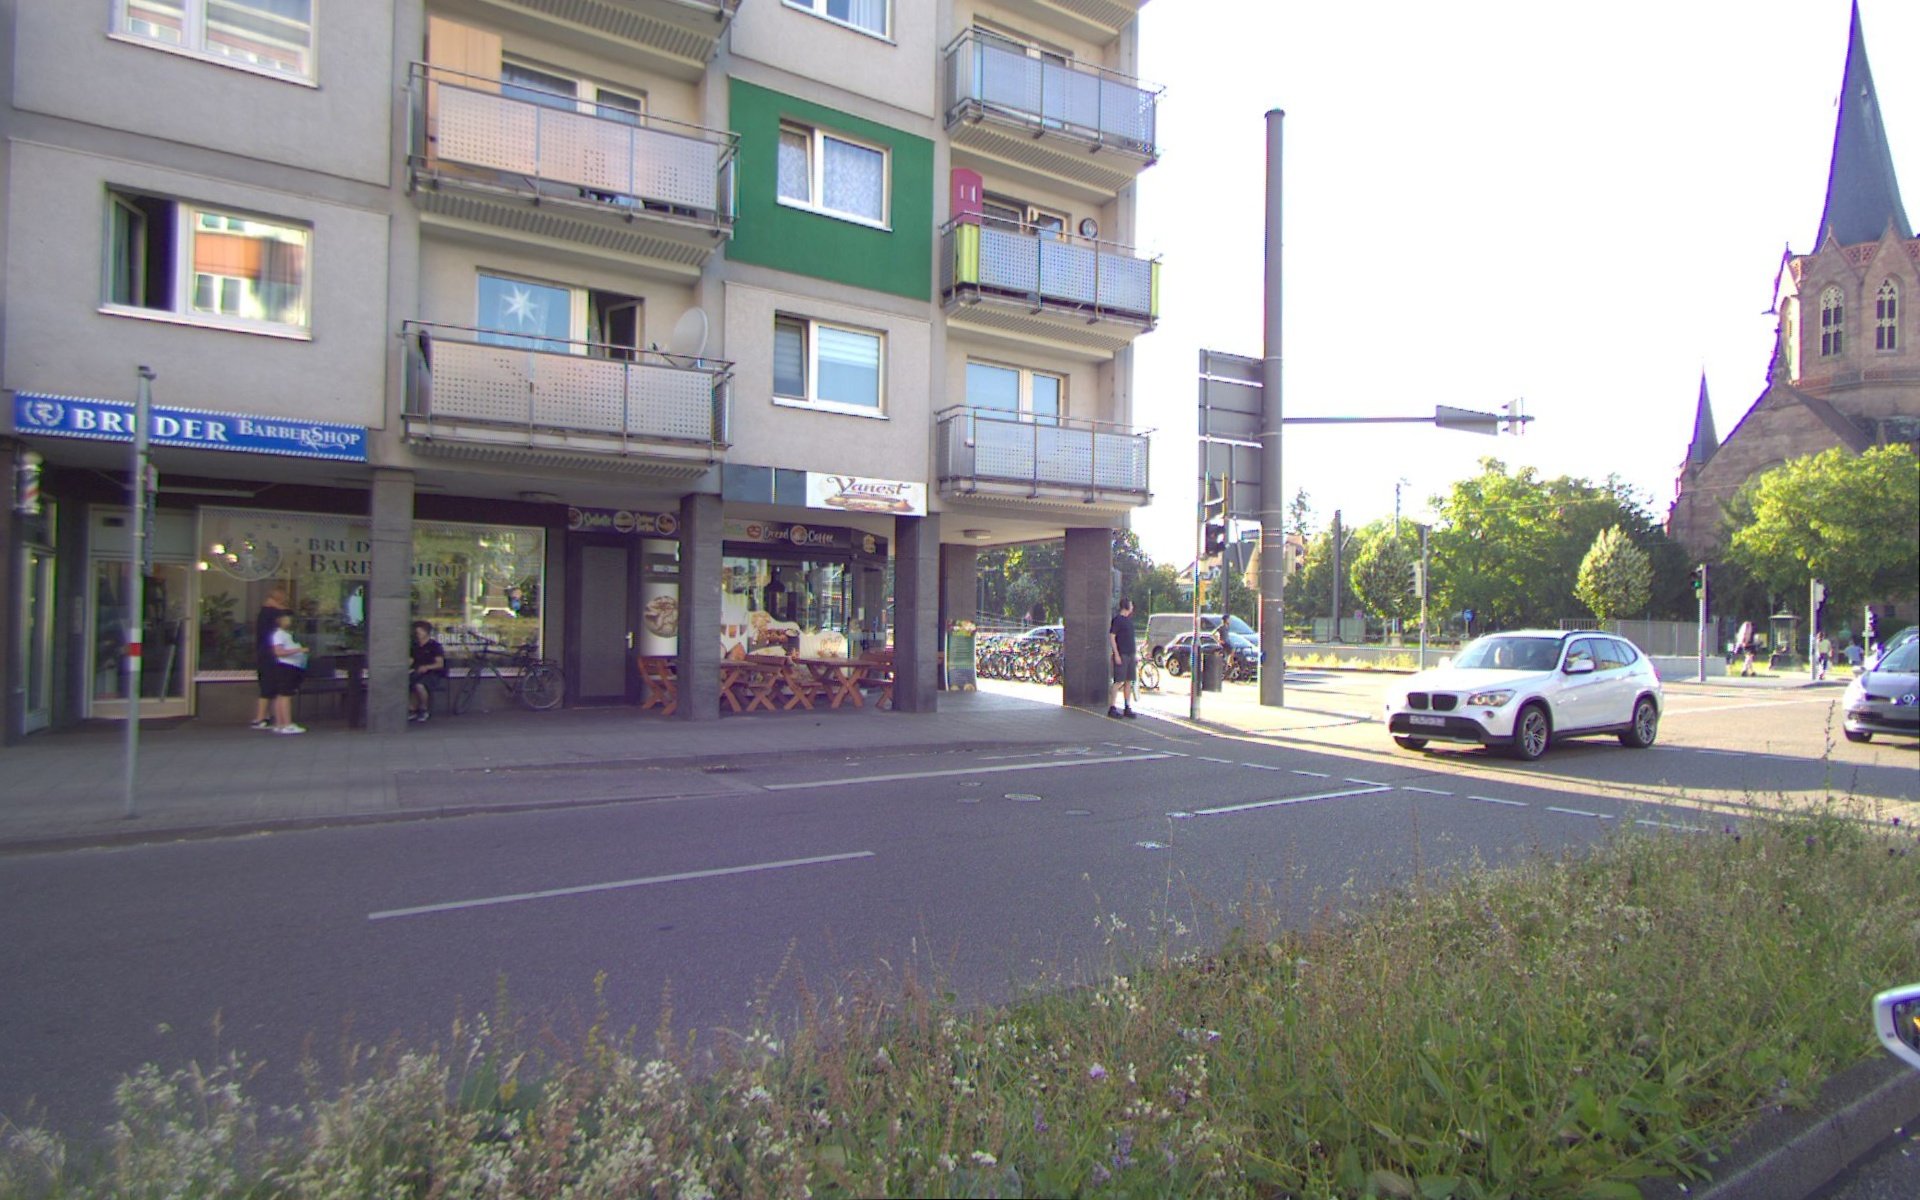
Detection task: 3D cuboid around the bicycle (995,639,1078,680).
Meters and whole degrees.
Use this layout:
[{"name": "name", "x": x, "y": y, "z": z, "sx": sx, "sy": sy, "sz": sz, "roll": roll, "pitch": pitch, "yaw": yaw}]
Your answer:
[{"name": "bicycle", "x": 2.117, "y": 1.637, "z": 27.719, "sx": 2.273, "sy": 1.065, "sz": 0.731, "roll": 2, "pitch": -2, "yaw": -31}]

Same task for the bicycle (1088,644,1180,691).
[{"name": "bicycle", "x": 4.208, "y": 1.607, "z": 24.191, "sx": 2.273, "sy": 1.065, "sz": 0.731, "roll": 2, "pitch": -1, "yaw": -31}]

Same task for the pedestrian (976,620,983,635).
[{"name": "pedestrian", "x": 2.282, "y": 3.243, "z": 118.944, "sx": 0.677, "sy": 1.847, "sz": 0.531, "roll": 2, "pitch": -1, "yaw": -27}]

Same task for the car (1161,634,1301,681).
[{"name": "car", "x": 8.422, "y": 1.761, "z": 31.512, "sx": 1.781, "sy": 1.330, "sz": 4.165, "roll": 2, "pitch": -2, "yaw": -32}]

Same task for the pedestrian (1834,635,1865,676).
[{"name": "pedestrian", "x": 39.203, "y": 2.436, "z": 44.260, "sx": 1.008, "sy": 1.719, "sz": 0.835, "roll": 2, "pitch": 0, "yaw": -39}]

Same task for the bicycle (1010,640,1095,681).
[{"name": "bicycle", "x": 2.504, "y": 1.626, "z": 27.030, "sx": 2.273, "sy": 1.065, "sz": 0.731, "roll": 2, "pitch": -2, "yaw": -31}]

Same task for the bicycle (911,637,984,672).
[{"name": "bicycle", "x": -0.377, "y": 1.728, "z": 32.054, "sx": 2.273, "sy": 1.065, "sz": 0.731, "roll": 2, "pitch": -2, "yaw": -31}]

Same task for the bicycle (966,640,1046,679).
[{"name": "bicycle", "x": 1.349, "y": 1.722, "z": 29.088, "sx": 2.273, "sy": 1.065, "sz": 0.731, "roll": 2, "pitch": -2, "yaw": -31}]

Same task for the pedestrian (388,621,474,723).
[{"name": "pedestrian", "x": -7.174, "y": 0.957, "z": 13.651, "sx": 0.613, "sy": 1.331, "sz": 0.811, "roll": 0, "pitch": -1, "yaw": 16}]

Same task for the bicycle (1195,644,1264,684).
[{"name": "bicycle", "x": 7.744, "y": 1.822, "z": 28.907, "sx": 0.940, "sy": 1.112, "sz": 1.769, "roll": 1, "pitch": -2, "yaw": -30}]

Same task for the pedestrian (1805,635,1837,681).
[{"name": "pedestrian", "x": 33.806, "y": 2.270, "z": 39.455, "sx": 1.010, "sy": 1.719, "sz": 0.833, "roll": 2, "pitch": 0, "yaw": -44}]

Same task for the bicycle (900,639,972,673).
[{"name": "bicycle", "x": -0.784, "y": 1.810, "z": 32.740, "sx": 2.273, "sy": 1.065, "sz": 0.731, "roll": 2, "pitch": -2, "yaw": -31}]

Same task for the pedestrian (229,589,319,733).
[{"name": "pedestrian", "x": -8.398, "y": 0.729, "z": 12.315, "sx": 0.613, "sy": 1.694, "sz": 0.658, "roll": 0, "pitch": -1, "yaw": 24}]

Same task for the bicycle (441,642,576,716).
[{"name": "bicycle", "x": -6.584, "y": 1.135, "z": 14.706, "sx": 1.684, "sy": 1.012, "sz": 0.619, "roll": 2, "pitch": -2, "yaw": -40}]

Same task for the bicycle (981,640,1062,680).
[{"name": "bicycle", "x": 1.752, "y": 1.694, "z": 28.397, "sx": 2.273, "sy": 1.065, "sz": 0.731, "roll": 2, "pitch": -2, "yaw": -31}]

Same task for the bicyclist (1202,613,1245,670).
[{"name": "bicyclist", "x": 7.629, "y": 1.205, "z": 29.114, "sx": 0.952, "sy": 1.619, "sz": 0.732, "roll": 1, "pitch": -2, "yaw": -30}]

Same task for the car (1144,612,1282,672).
[{"name": "car", "x": 9.115, "y": 1.491, "z": 36.614, "sx": 1.978, "sy": 2.040, "sz": 4.896, "roll": 2, "pitch": -2, "yaw": -32}]

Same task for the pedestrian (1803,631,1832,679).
[{"name": "pedestrian", "x": 31.760, "y": 2.031, "z": 37.200, "sx": 0.890, "sy": 1.719, "sz": 0.701, "roll": 2, "pitch": 0, "yaw": -44}]

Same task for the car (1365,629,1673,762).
[{"name": "car", "x": 7.433, "y": 1.143, "z": 13.255, "sx": 4.201, "sy": 1.508, "sz": 1.743, "roll": 1, "pitch": -2, "yaw": -32}]

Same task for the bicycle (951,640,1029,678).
[{"name": "bicycle", "x": 0.910, "y": 1.736, "z": 29.767, "sx": 2.273, "sy": 1.065, "sz": 0.731, "roll": 2, "pitch": -2, "yaw": -31}]

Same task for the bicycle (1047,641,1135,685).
[{"name": "bicycle", "x": 3.345, "y": 1.600, "z": 25.555, "sx": 2.273, "sy": 1.065, "sz": 0.731, "roll": 2, "pitch": -2, "yaw": -31}]

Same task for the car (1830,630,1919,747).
[{"name": "car", "x": 13.824, "y": 1.159, "z": 13.836, "sx": 3.938, "sy": 1.490, "sz": 1.585, "roll": 1, "pitch": -2, "yaw": -30}]

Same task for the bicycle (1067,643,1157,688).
[{"name": "bicycle", "x": 3.783, "y": 1.613, "z": 24.873, "sx": 2.273, "sy": 1.065, "sz": 0.731, "roll": 2, "pitch": -2, "yaw": -31}]

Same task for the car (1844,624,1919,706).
[{"name": "car", "x": 20.878, "y": 1.365, "z": 21.580, "sx": 4.056, "sy": 1.650, "sz": 1.711, "roll": 1, "pitch": -2, "yaw": -32}]

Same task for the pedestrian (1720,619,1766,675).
[{"name": "pedestrian", "x": 25.313, "y": 1.513, "z": 32.461, "sx": 0.803, "sy": 1.762, "sz": 0.960, "roll": 2, "pitch": -1, "yaw": -32}]

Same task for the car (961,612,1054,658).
[{"name": "car", "x": 2.200, "y": 1.639, "z": 47.848, "sx": 1.978, "sy": 2.040, "sz": 4.896, "roll": 2, "pitch": -2, "yaw": -32}]

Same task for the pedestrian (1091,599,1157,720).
[{"name": "pedestrian", "x": 2.671, "y": 0.955, "z": 16.352, "sx": 0.803, "sy": 1.900, "sz": 0.605, "roll": 1, "pitch": 2, "yaw": -30}]

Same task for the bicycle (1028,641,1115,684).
[{"name": "bicycle", "x": 2.920, "y": 1.617, "z": 26.221, "sx": 2.273, "sy": 1.065, "sz": 0.731, "roll": 2, "pitch": -2, "yaw": -31}]

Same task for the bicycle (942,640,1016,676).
[{"name": "bicycle", "x": 0.582, "y": 1.753, "z": 30.352, "sx": 2.273, "sy": 1.065, "sz": 0.558, "roll": 2, "pitch": -2, "yaw": -31}]

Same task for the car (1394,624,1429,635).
[{"name": "car", "x": 68.097, "y": 4.476, "z": 151.622, "sx": 1.985, "sy": 1.592, "sz": 4.411, "roll": 2, "pitch": -2, "yaw": -41}]

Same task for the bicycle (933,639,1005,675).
[{"name": "bicycle", "x": 0.287, "y": 1.760, "z": 30.860, "sx": 2.273, "sy": 1.065, "sz": 0.558, "roll": 2, "pitch": -2, "yaw": -31}]

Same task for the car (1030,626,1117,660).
[{"name": "car", "x": 4.940, "y": 1.849, "z": 44.024, "sx": 1.781, "sy": 1.392, "sz": 3.880, "roll": 2, "pitch": -2, "yaw": -32}]

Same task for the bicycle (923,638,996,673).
[{"name": "bicycle", "x": 0.009, "y": 1.730, "z": 31.368, "sx": 2.273, "sy": 1.065, "sz": 0.642, "roll": 2, "pitch": -2, "yaw": -31}]

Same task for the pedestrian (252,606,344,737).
[{"name": "pedestrian", "x": -7.844, "y": 0.826, "z": 11.909, "sx": 0.613, "sy": 1.486, "sz": 0.658, "roll": 0, "pitch": -1, "yaw": 24}]
